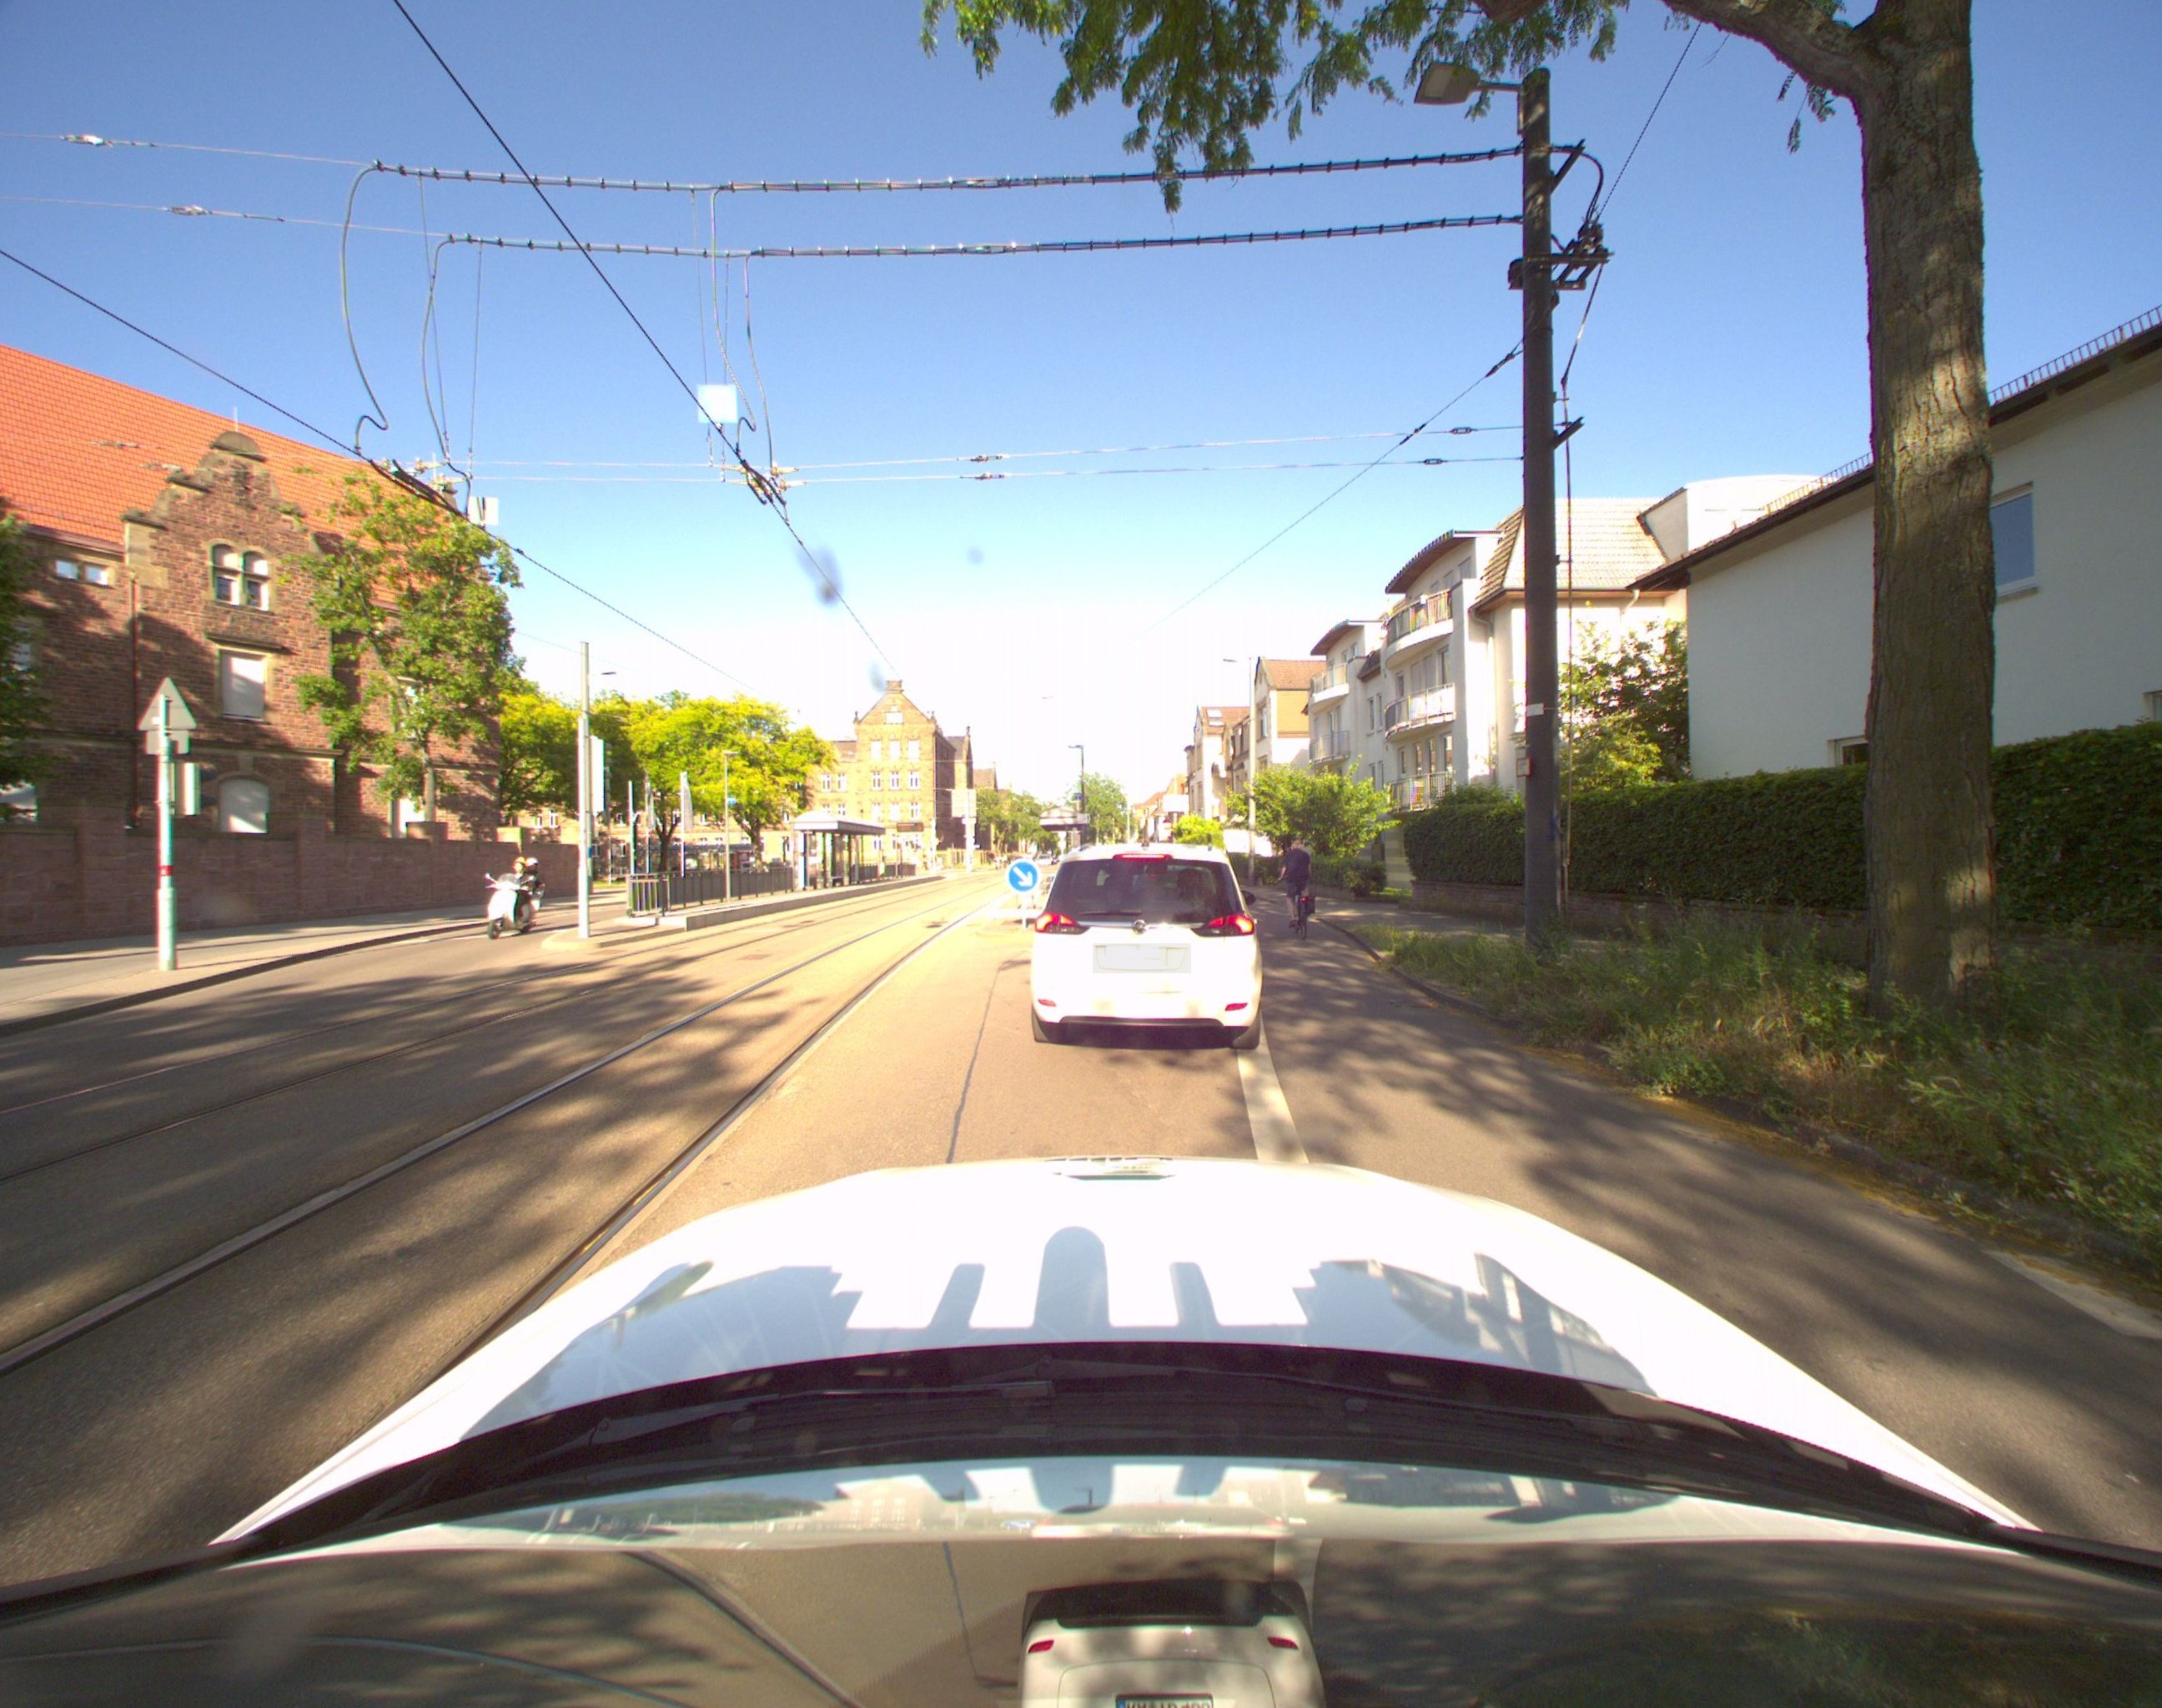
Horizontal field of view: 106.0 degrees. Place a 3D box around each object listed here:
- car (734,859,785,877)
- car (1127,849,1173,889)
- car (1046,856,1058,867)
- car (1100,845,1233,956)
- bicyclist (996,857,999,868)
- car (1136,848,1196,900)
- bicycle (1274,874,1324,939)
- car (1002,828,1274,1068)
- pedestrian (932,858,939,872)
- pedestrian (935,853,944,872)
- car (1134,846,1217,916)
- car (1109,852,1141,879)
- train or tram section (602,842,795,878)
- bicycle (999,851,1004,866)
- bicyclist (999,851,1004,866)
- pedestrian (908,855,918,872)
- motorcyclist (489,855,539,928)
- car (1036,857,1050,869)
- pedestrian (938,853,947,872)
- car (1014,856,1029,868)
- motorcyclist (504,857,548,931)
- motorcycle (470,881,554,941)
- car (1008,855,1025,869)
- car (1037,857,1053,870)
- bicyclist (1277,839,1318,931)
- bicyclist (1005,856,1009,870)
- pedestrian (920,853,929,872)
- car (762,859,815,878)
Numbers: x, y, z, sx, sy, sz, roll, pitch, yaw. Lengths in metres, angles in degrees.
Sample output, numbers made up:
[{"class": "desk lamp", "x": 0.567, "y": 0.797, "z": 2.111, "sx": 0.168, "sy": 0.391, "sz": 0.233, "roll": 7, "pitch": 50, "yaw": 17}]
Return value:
[{"class": "car", "x": -29.651, "y": 1.317, "z": 75.201, "sx": 3.976, "sy": 1.630, "sz": 1.817, "roll": 0, "pitch": -1, "yaw": -2}, {"class": "car", "x": 2.997, "y": 0.617, "z": 36.175, "sx": 1.899, "sy": 1.661, "sz": 4.003, "roll": -1, "pitch": 0, "yaw": 3}, {"class": "car", "x": -4.600, "y": 1.186, "z": 129.383, "sx": 1.740, "sy": 1.716, "sz": 4.001, "roll": 0, "pitch": -1, "yaw": 2}, {"class": "car", "x": 1.559, "y": 0.687, "z": 13.854, "sx": 1.896, "sy": 1.597, "sz": 4.010, "roll": -1, "pitch": 0, "yaw": 9}, {"class": "bicyclist", "x": -10.662, "y": 1.060, "z": 103.486, "sx": 0.312, "sy": 1.444, "sz": 0.384, "roll": -1, "pitch": 0, "yaw": 1}, {"class": "car", "x": 2.976, "y": 0.652, "z": 28.332, "sx": 1.897, "sy": 1.661, "sz": 4.007, "roll": -1, "pitch": 0, "yaw": 6}, {"class": "bicycle", "x": 4.086, "y": 0.952, "z": 15.358, "sx": 0.620, "sy": 1.097, "sz": 1.977, "roll": -1, "pitch": 0, "yaw": 7}, {"class": "car", "x": 0.698, "y": 0.664, "z": 7.746, "sx": 1.896, "sy": 1.661, "sz": 4.010, "roll": -1, "pitch": 0, "yaw": 9}, {"class": "pedestrian", "x": -17.149, "y": 1.259, "z": 95.878, "sx": 0.651, "sy": 1.612, "sz": 0.712, "roll": 0, "pitch": -1, "yaw": 4}, {"class": "pedestrian", "x": -15.552, "y": 0.938, "z": 89.522, "sx": 0.801, "sy": 2.014, "sz": 0.713, "roll": 0, "pitch": -1, "yaw": -35}, {"class": "car", "x": 2.521, "y": 0.639, "z": 21.060, "sx": 1.896, "sy": 1.624, "sz": 4.010, "roll": -1, "pitch": 0, "yaw": 9}, {"class": "car", "x": 2.843, "y": 0.752, "z": 53.168, "sx": 1.901, "sy": 1.661, "sz": 4.000, "roll": -1, "pitch": 0, "yaw": 0}, {"class": "train or tram section", "x": -37.842, "y": 0.579, "z": 81.134, "sx": 17.346, "sy": 3.154, "sz": 3.344, "roll": -1, "pitch": -1, "yaw": -3}, {"class": "bicycle", "x": -10.676, "y": 0.629, "z": 109.540, "sx": 0.485, "sy": 2.013, "sz": 1.406, "roll": -1, "pitch": 0, "yaw": 2}, {"class": "bicyclist", "x": -10.673, "y": 0.629, "z": 109.546, "sx": 0.496, "sy": 2.013, "sz": 0.572, "roll": -1, "pitch": 0, "yaw": 1}, {"class": "pedestrian", "x": -18.447, "y": 1.052, "z": 89.642, "sx": 0.802, "sy": 1.901, "sz": 0.747, "roll": -1, "pitch": -1, "yaw": 16}, {"class": "motorcyclist", "x": -11.618, "y": 0.758, "z": 16.693, "sx": 0.683, "sy": 1.440, "sz": 0.445, "roll": -1, "pitch": 0, "yaw": -8}, {"class": "car", "x": -5.368, "y": 1.291, "z": 115.537, "sx": 1.740, "sy": 1.716, "sz": 4.001, "roll": 0, "pitch": -1, "yaw": 2}, {"class": "pedestrian", "x": -14.549, "y": 0.870, "z": 85.502, "sx": 0.796, "sy": 2.014, "sz": 0.717, "roll": 0, "pitch": -1, "yaw": -15}, {"class": "car", "x": -8.327, "y": 1.119, "z": 114.106, "sx": 1.740, "sy": 1.716, "sz": 4.001, "roll": 0, "pitch": -1, "yaw": 2}, {"class": "motorcyclist", "x": -11.679, "y": 0.836, "z": 17.154, "sx": 0.606, "sy": 1.516, "sz": 0.464, "roll": -1, "pitch": 0, "yaw": -8}, {"class": "motorcycle", "x": -11.619, "y": 1.129, "z": 16.707, "sx": 0.609, "sy": 1.093, "sz": 1.851, "roll": -1, "pitch": 0, "yaw": -7}, {"class": "car", "x": -8.496, "y": 1.034, "z": 107.438, "sx": 1.740, "sy": 1.716, "sz": 4.001, "roll": 0, "pitch": -1, "yaw": 2}, {"class": "car", "x": -4.705, "y": 1.259, "z": 107.658, "sx": 1.740, "sy": 1.716, "sz": 4.001, "roll": 0, "pitch": -1, "yaw": 2}, {"class": "bicyclist", "x": 4.064, "y": 0.569, "z": 15.333, "sx": 0.612, "sy": 1.686, "sz": 0.780, "roll": -1, "pitch": 0, "yaw": 7}, {"class": "bicyclist", "x": -10.233, "y": 1.225, "z": 112.364, "sx": 0.486, "sy": 2.014, "sz": 0.502, "roll": 0, "pitch": -1, "yaw": 1}, {"class": "pedestrian", "x": -17.060, "y": 0.944, "z": 88.935, "sx": 0.800, "sy": 2.014, "sz": 0.713, "roll": 0, "pitch": -1, "yaw": -32}, {"class": "car", "x": -25.444, "y": 1.241, "z": 70.958, "sx": 3.976, "sy": 1.630, "sz": 1.817, "roll": 0, "pitch": -1, "yaw": -2}]
